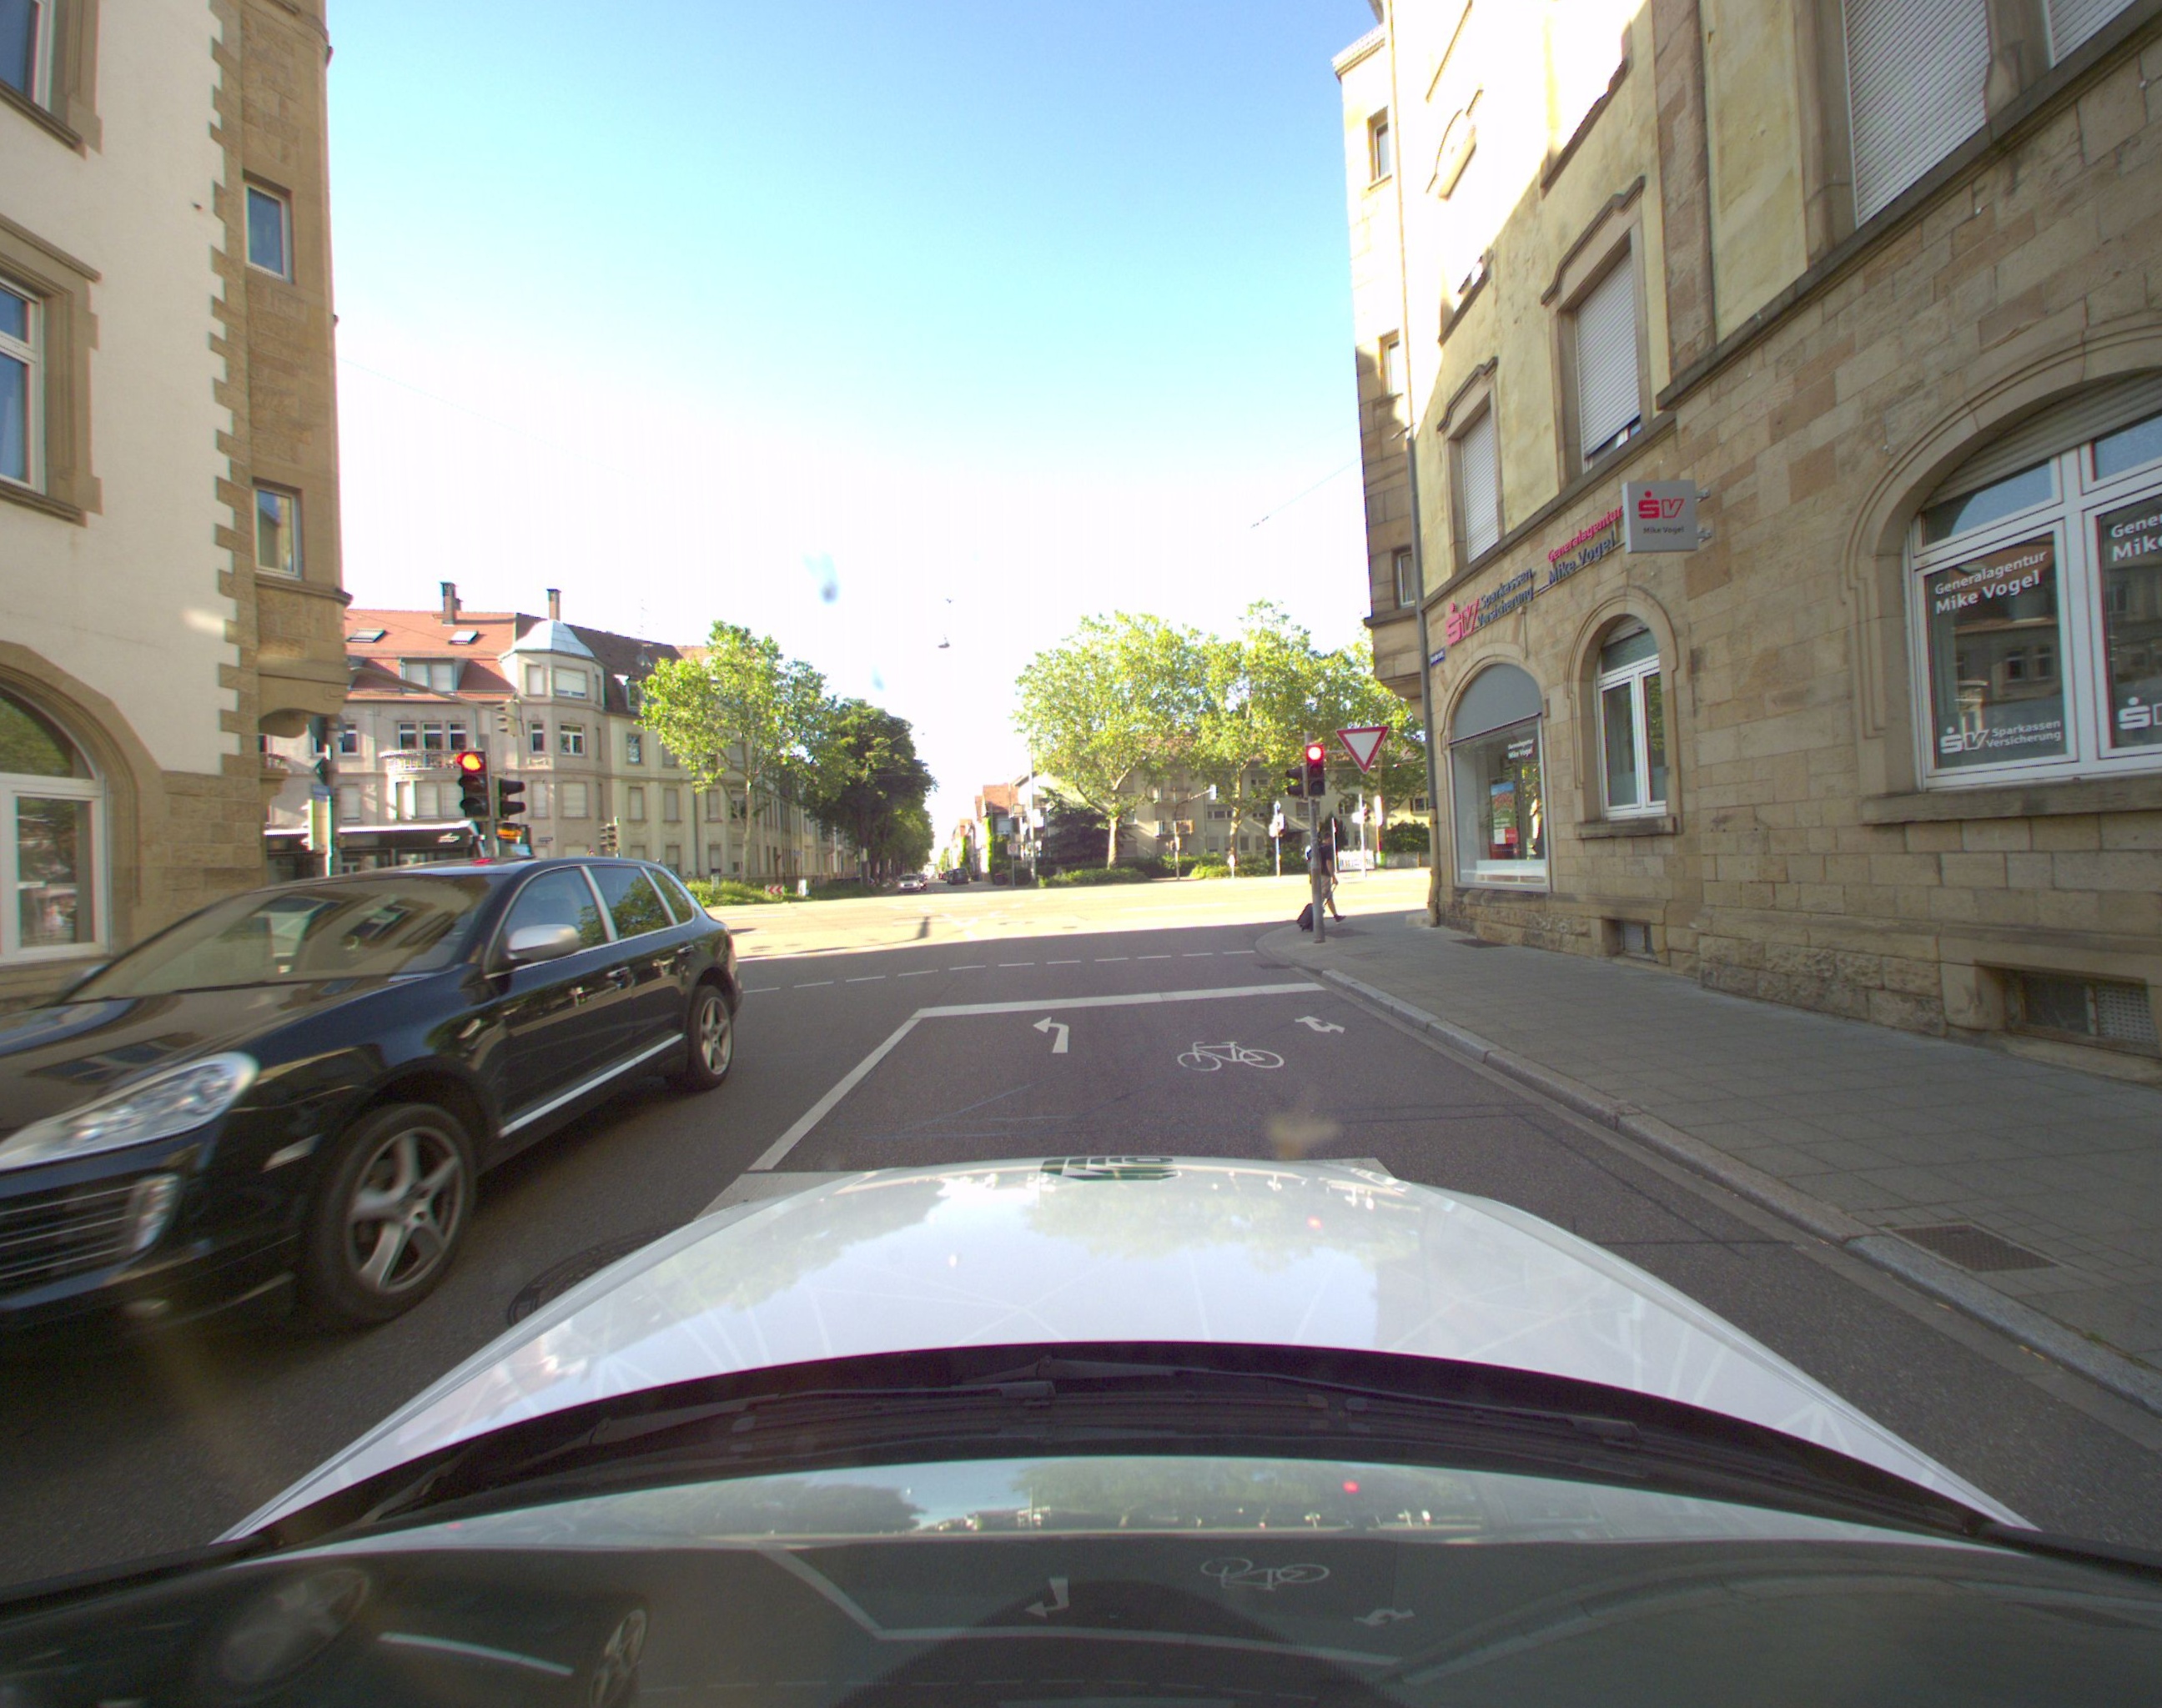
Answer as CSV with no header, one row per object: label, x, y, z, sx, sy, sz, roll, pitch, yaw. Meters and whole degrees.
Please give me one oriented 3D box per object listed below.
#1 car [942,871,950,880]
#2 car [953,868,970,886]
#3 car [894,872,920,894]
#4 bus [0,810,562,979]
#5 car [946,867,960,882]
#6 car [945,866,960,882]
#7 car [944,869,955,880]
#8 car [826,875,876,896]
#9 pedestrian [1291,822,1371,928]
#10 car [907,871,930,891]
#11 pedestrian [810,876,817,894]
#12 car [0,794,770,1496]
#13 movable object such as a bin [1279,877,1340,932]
car,-30.136,4.800,181.729,1.773,1.918,3.522,-4,0,-10
car,-13.959,2.693,95.016,1.773,1.918,3.522,-4,0,-10
car,-13.599,2.264,63.819,1.698,1.483,3.522,-4,0,-10
bus,-17.583,0.772,18.211,9.626,3.096,2.735,-2,0,-12
car,-18.215,2.887,116.018,1.993,2.014,3.987,0,-1,-9
car,-16.571,2.544,105.205,1.773,1.918,3.522,-4,0,-10
car,-23.759,3.695,147.186,1.773,1.918,3.522,-4,0,-10
car,-17.956,2.467,63.716,3.636,1.457,1.650,-2,0,-14
pedestrian,4.704,0.390,15.347,1.068,1.848,0.744,-6,0,-17
car,-13.940,2.319,69.927,1.698,1.483,3.522,-4,0,-10
pedestrian,-22.315,2.603,67.889,0.489,1.442,0.702,0,-1,-13
car,-3.522,0.847,4.298,2.069,1.693,4.701,-6,-1,-4
movable object such as a bin,4.158,0.908,14.829,0.862,0.892,0.507,-6,0,-11
